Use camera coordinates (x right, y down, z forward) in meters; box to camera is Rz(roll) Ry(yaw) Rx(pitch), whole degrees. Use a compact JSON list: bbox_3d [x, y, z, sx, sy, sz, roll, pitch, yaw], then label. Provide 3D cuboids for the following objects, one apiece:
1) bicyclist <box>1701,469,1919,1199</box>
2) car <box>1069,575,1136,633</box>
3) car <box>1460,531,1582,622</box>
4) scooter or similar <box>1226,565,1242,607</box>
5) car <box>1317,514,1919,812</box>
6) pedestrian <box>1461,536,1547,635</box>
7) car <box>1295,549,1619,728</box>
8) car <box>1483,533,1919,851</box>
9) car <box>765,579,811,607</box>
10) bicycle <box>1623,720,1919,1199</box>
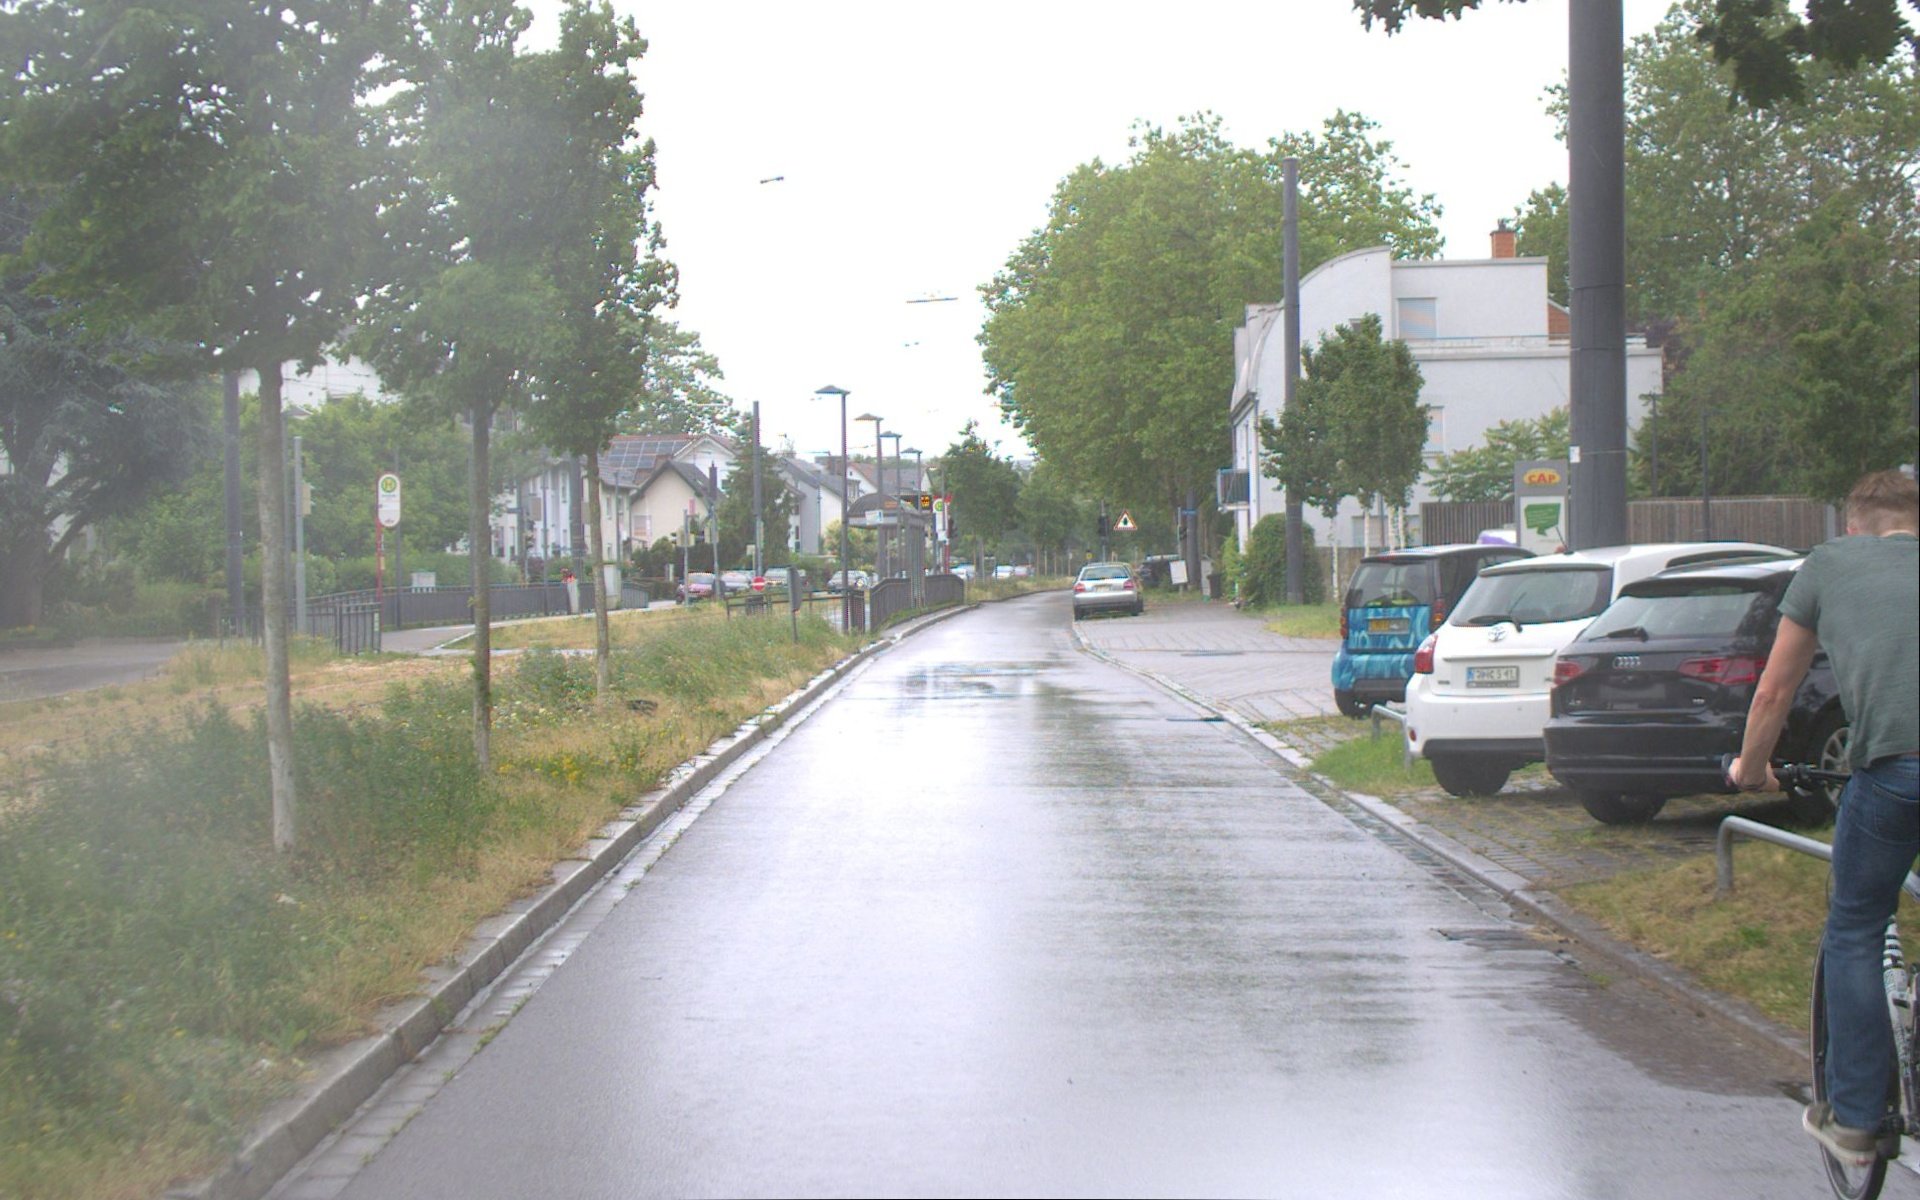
[{"bbox_3d":[1.990,0.511,7.450,0.534,1.554,0.772,0,0,-6],"label":"bicyclist"},{"bbox_3d":[3.834,0.121,92.299,1.650,1.400,4.649,-4,-1,3],"label":"car"},{"bbox_3d":[11.393,-0.513,70.128,1.963,1.778,4.896,0,1,3],"label":"car"},{"bbox_3d":[7.188,-0.357,90.195,0.333,1.081,1.395,0,0,7],"label":"scooter or similar"},{"bbox_3d":[4.430,0.341,22.043,4.174,1.542,1.764,-5,2,-39],"label":"car"},{"bbox_3d":[8.433,-0.215,53.323,0.835,1.512,1.095,0,0,-28],"label":"pedestrian"},{"bbox_3d":[4.569,0.333,31.523,2.558,1.543,1.602,-1,0,-39],"label":"car"},{"bbox_3d":[4.920,0.413,18.931,3.933,1.426,1.684,-5,2,-36],"label":"car"},{"bbox_3d":[-9.281,-0.371,185.348,1.929,1.481,3.999,0,0,5],"label":"car"},{"bbox_3d":[1.994,0.840,7.557,0.536,1.089,1.949,0,0,-5],"label":"bicycle"}]
